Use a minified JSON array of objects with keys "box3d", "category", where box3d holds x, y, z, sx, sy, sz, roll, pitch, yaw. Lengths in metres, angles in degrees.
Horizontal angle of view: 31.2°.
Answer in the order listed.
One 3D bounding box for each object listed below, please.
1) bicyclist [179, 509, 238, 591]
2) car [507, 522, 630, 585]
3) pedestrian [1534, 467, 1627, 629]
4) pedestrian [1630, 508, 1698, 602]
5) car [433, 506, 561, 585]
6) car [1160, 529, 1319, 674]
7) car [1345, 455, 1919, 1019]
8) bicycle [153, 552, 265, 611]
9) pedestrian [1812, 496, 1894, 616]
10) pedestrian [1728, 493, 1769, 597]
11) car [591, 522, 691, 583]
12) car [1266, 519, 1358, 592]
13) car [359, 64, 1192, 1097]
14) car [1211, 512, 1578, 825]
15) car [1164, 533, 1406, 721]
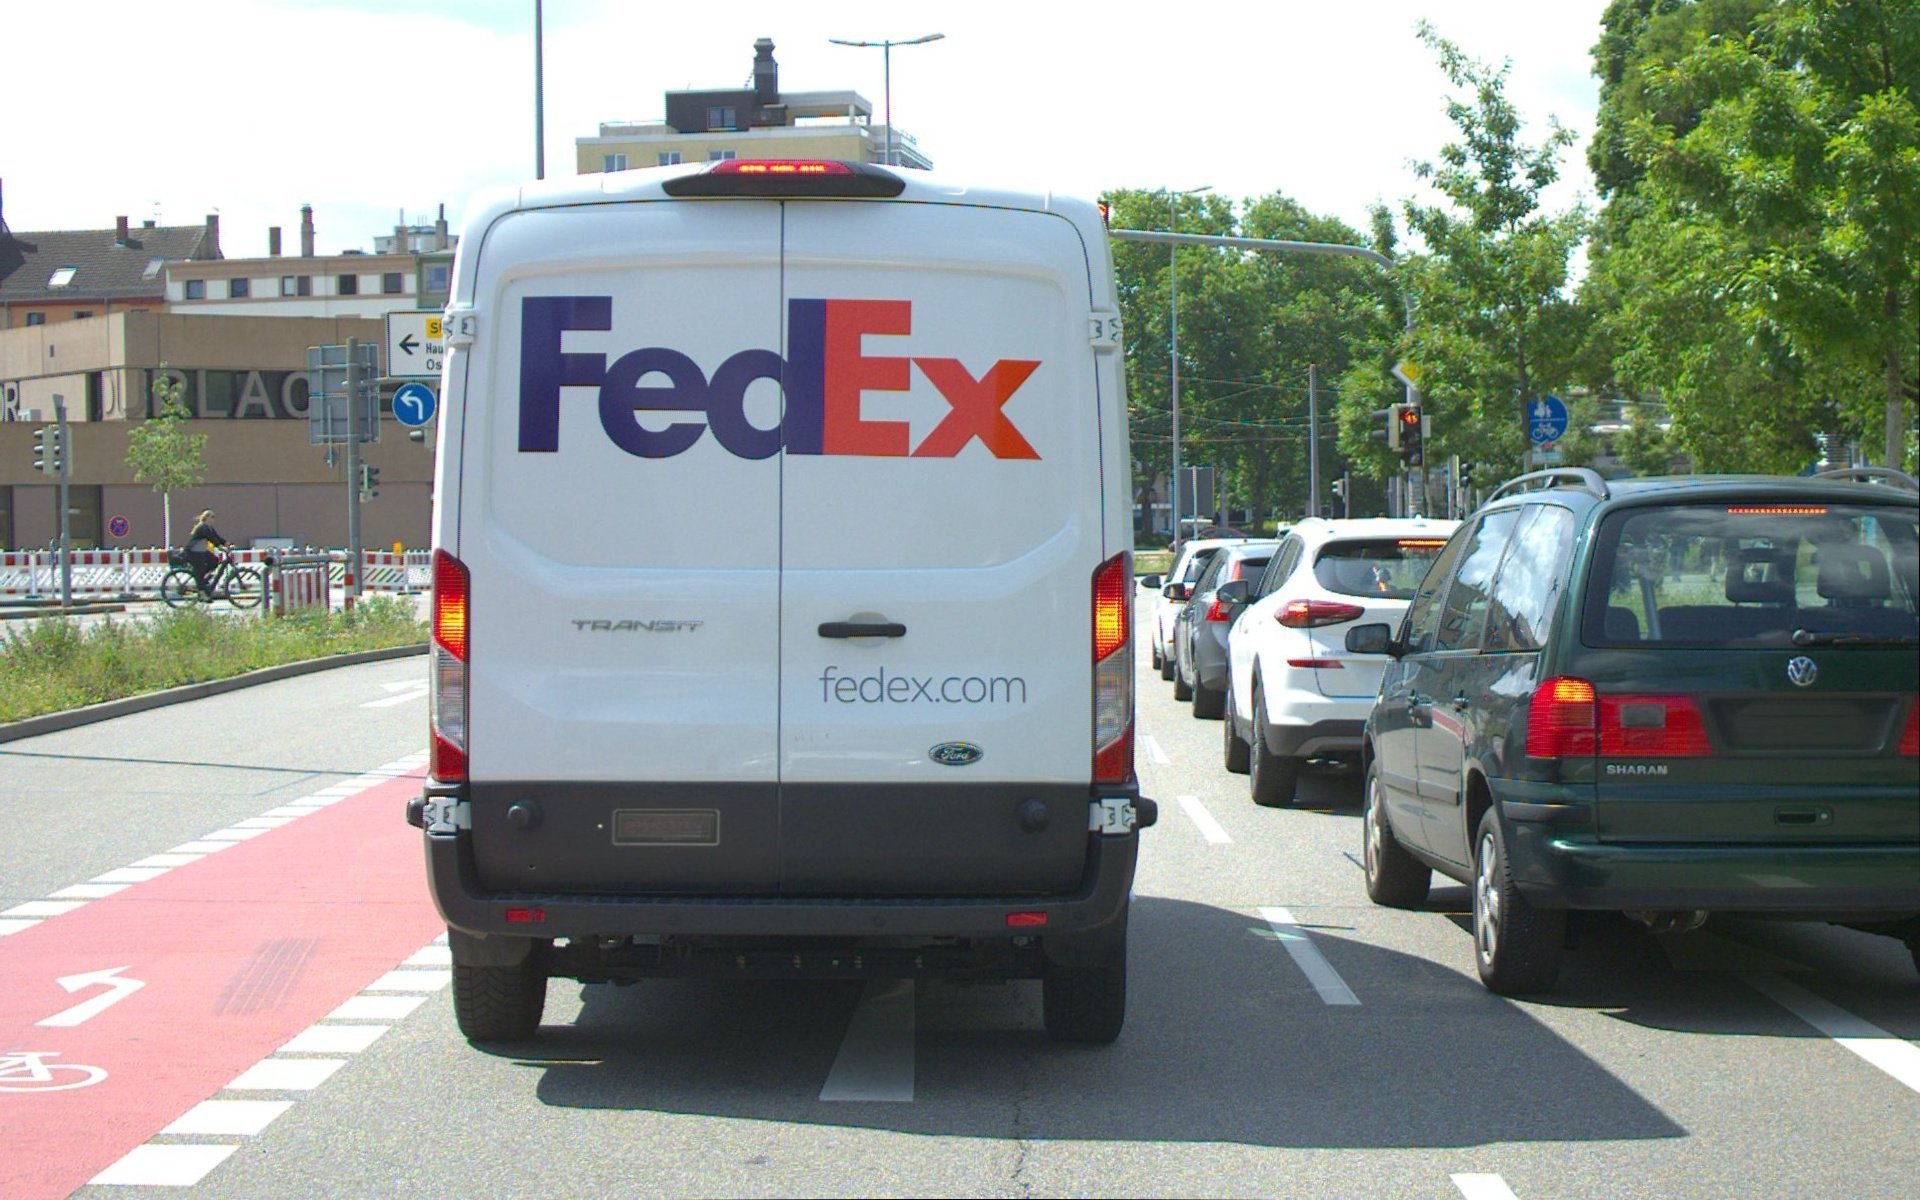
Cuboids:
[{"box3d":[-13.513,-0.902,61.843,0.967,1.469,0.551,-1,1,-7],"category":"bicyclist"},{"box3d":[-10.228,-1.222,90.050,1.902,1.579,3.997,-1,1,14],"category":"car"},{"box3d":[7.335,-0.619,40.673,0.950,1.886,0.774,-1,1,0],"category":"pedestrian"},{"box3d":[10.558,-0.678,51.584,0.845,1.384,0.741,-1,1,0],"category":"pedestrian"},{"box3d":[-12.292,-1.451,91.418,1.995,2.007,3.997,-1,1,14],"category":"car"},{"box3d":[2.898,-0.019,36.145,1.484,1.423,3.433,-1,1,2],"category":"car"},{"box3d":[2.594,0.365,12.723,1.812,1.728,4.389,0,1,0],"category":"car"},{"box3d":[-13.505,-0.340,61.858,1.920,1.027,0.548,-1,1,-7],"category":"bicycle"},{"box3d":[11.595,-0.580,44.654,0.845,1.533,0.835,-1,1,0],"category":"pedestrian"},{"box3d":[14.336,-1.000,62.533,0.574,1.886,0.679,-1,1,0],"category":"pedestrian"},{"box3d":[-8.906,-1.324,96.230,1.879,1.646,3.999,-1,1,8],"category":"car"},{"box3d":[9.010,-1.149,87.776,1.994,1.787,4.370,-1,1,10],"category":"car"},{"box3d":[-0.676,-0.104,11.717,2.140,2.643,5.705,0,1,-4],"category":"car"},{"box3d":[2.504,0.321,20.661,1.798,1.681,4.000,-1,1,2],"category":"car"},{"box3d":[2.697,0.179,29.239,1.798,1.456,3.838,-1,1,2],"category":"car"}]
